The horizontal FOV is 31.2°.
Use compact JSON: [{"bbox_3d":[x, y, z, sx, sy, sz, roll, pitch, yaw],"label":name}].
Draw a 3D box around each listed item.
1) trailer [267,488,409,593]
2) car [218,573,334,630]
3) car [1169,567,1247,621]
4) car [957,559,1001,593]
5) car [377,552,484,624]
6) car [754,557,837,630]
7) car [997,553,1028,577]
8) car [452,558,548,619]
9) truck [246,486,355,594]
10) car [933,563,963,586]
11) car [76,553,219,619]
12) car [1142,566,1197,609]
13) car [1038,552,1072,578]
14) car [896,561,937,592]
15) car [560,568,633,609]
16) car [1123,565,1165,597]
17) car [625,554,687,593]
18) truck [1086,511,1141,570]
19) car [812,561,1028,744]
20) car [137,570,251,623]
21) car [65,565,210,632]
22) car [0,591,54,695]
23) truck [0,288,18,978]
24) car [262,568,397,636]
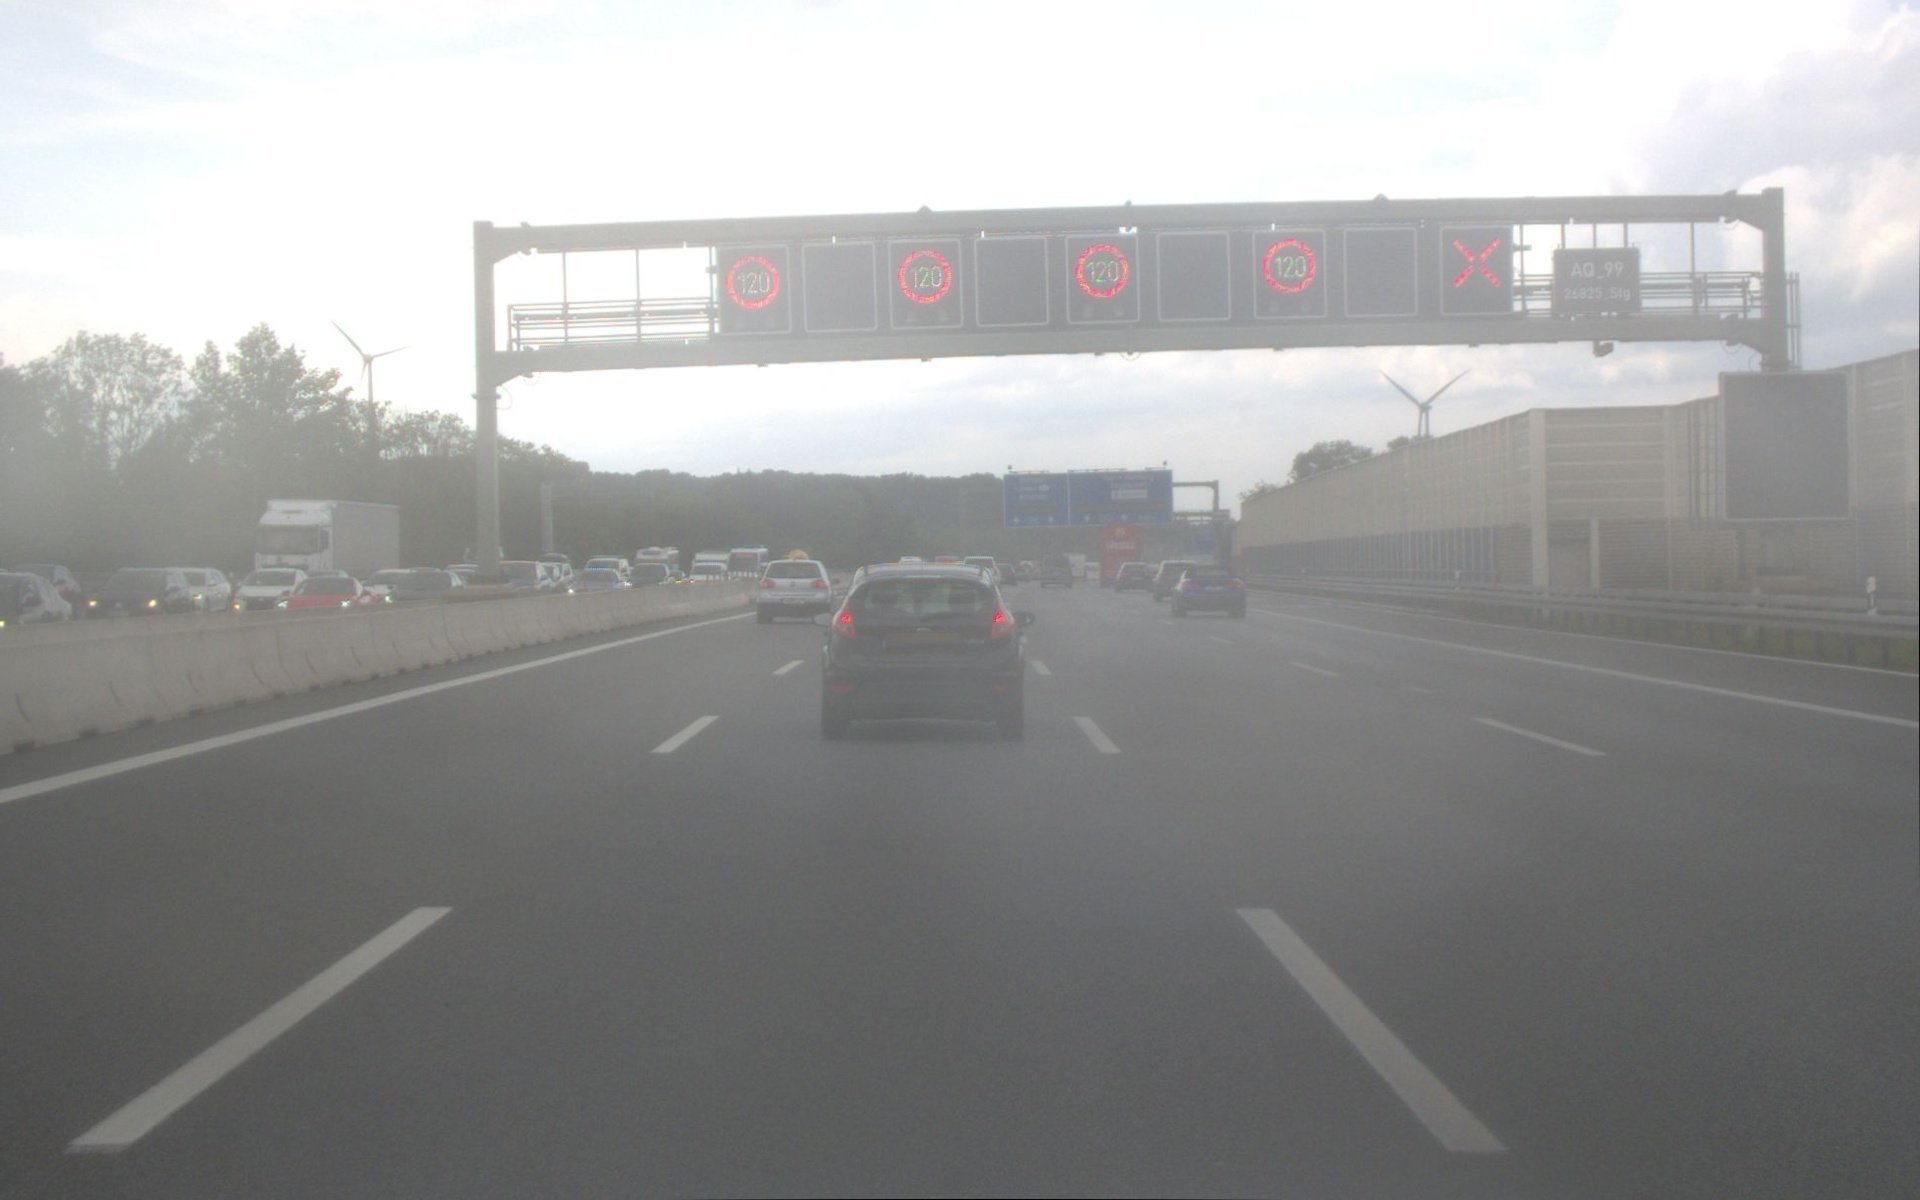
[{"bbox_3d":[-25.054,-2.404,139.318,2.931,4.018,14.453,0,1,1],"label":"trailer"},{"bbox_3d":[-18.451,0.023,92.916,2.060,1.486,4.997,0,0,1],"label":"car"},{"bbox_3d":[6.693,-0.164,93.091,1.950,1.413,4.232,0,0,2],"label":"car"},{"bbox_3d":[0.886,-1.113,160.188,1.968,1.555,4.433,-1,0,1],"label":"car"},{"bbox_3d":[-14.336,-0.336,93.319,2.060,1.873,4.997,0,0,1],"label":"car"},{"bbox_3d":[-3.829,-0.183,80.617,1.717,1.618,4.278,0,1,0],"label":"car"},{"bbox_3d":[3.416,-2.291,225.456,1.968,1.555,4.433,-1,0,0],"label":"car"},{"bbox_3d":[-14.426,-0.375,108.123,2.060,1.873,6.328,0,0,1],"label":"car"},{"bbox_3d":[-25.184,-2.286,131.455,2.972,4.021,5.726,0,1,1],"label":"truck"},{"bbox_3d":[-0.830,-1.788,240.989,1.968,1.555,4.433,-1,0,1],"label":"car"},{"bbox_3d":[-18.837,-0.328,79.955,2.060,1.486,4.997,0,0,1],"label":"car"},{"bbox_3d":[7.858,-0.458,129.254,1.882,1.537,4.433,-1,0,1],"label":"car"},{"bbox_3d":[5.752,-2.115,208.605,1.968,1.555,4.433,-1,0,1],"label":"car"},{"bbox_3d":[-2.244,-1.231,179.598,1.968,1.555,4.433,-1,0,1],"label":"car"},{"bbox_3d":[-13.761,-0.440,130.355,2.060,1.529,5.470,0,0,1],"label":"car"},{"bbox_3d":[9.126,-0.946,170.661,1.882,1.555,4.433,-1,0,1],"label":"car"},{"bbox_3d":[-13.018,-1.150,147.551,2.060,1.640,5.380,0,0,1],"label":"car"},{"bbox_3d":[9.720,-3.763,218.745,3.152,3.589,12.699,1,1,1],"label":"truck"},{"bbox_3d":[-0.349,0.395,29.486,1.717,1.412,4.279,0,1,-1],"label":"car"},{"bbox_3d":[-21.811,-0.114,98.044,2.060,1.486,4.997,0,0,1],"label":"car"},{"bbox_3d":[-18.958,-0.051,79.491,2.060,1.486,4.997,0,0,1],"label":"car"},{"bbox_3d":[-14.861,0.636,49.784,2.060,1.486,4.997,0,0,1],"label":"car"},{"bbox_3d":[-4.411,0.179,8.765,2.306,2.431,7.149,0,1,-2],"label":"truck"},{"bbox_3d":[-14.372,0.029,78.619,2.060,1.486,4.997,0,0,1],"label":"car"}]
